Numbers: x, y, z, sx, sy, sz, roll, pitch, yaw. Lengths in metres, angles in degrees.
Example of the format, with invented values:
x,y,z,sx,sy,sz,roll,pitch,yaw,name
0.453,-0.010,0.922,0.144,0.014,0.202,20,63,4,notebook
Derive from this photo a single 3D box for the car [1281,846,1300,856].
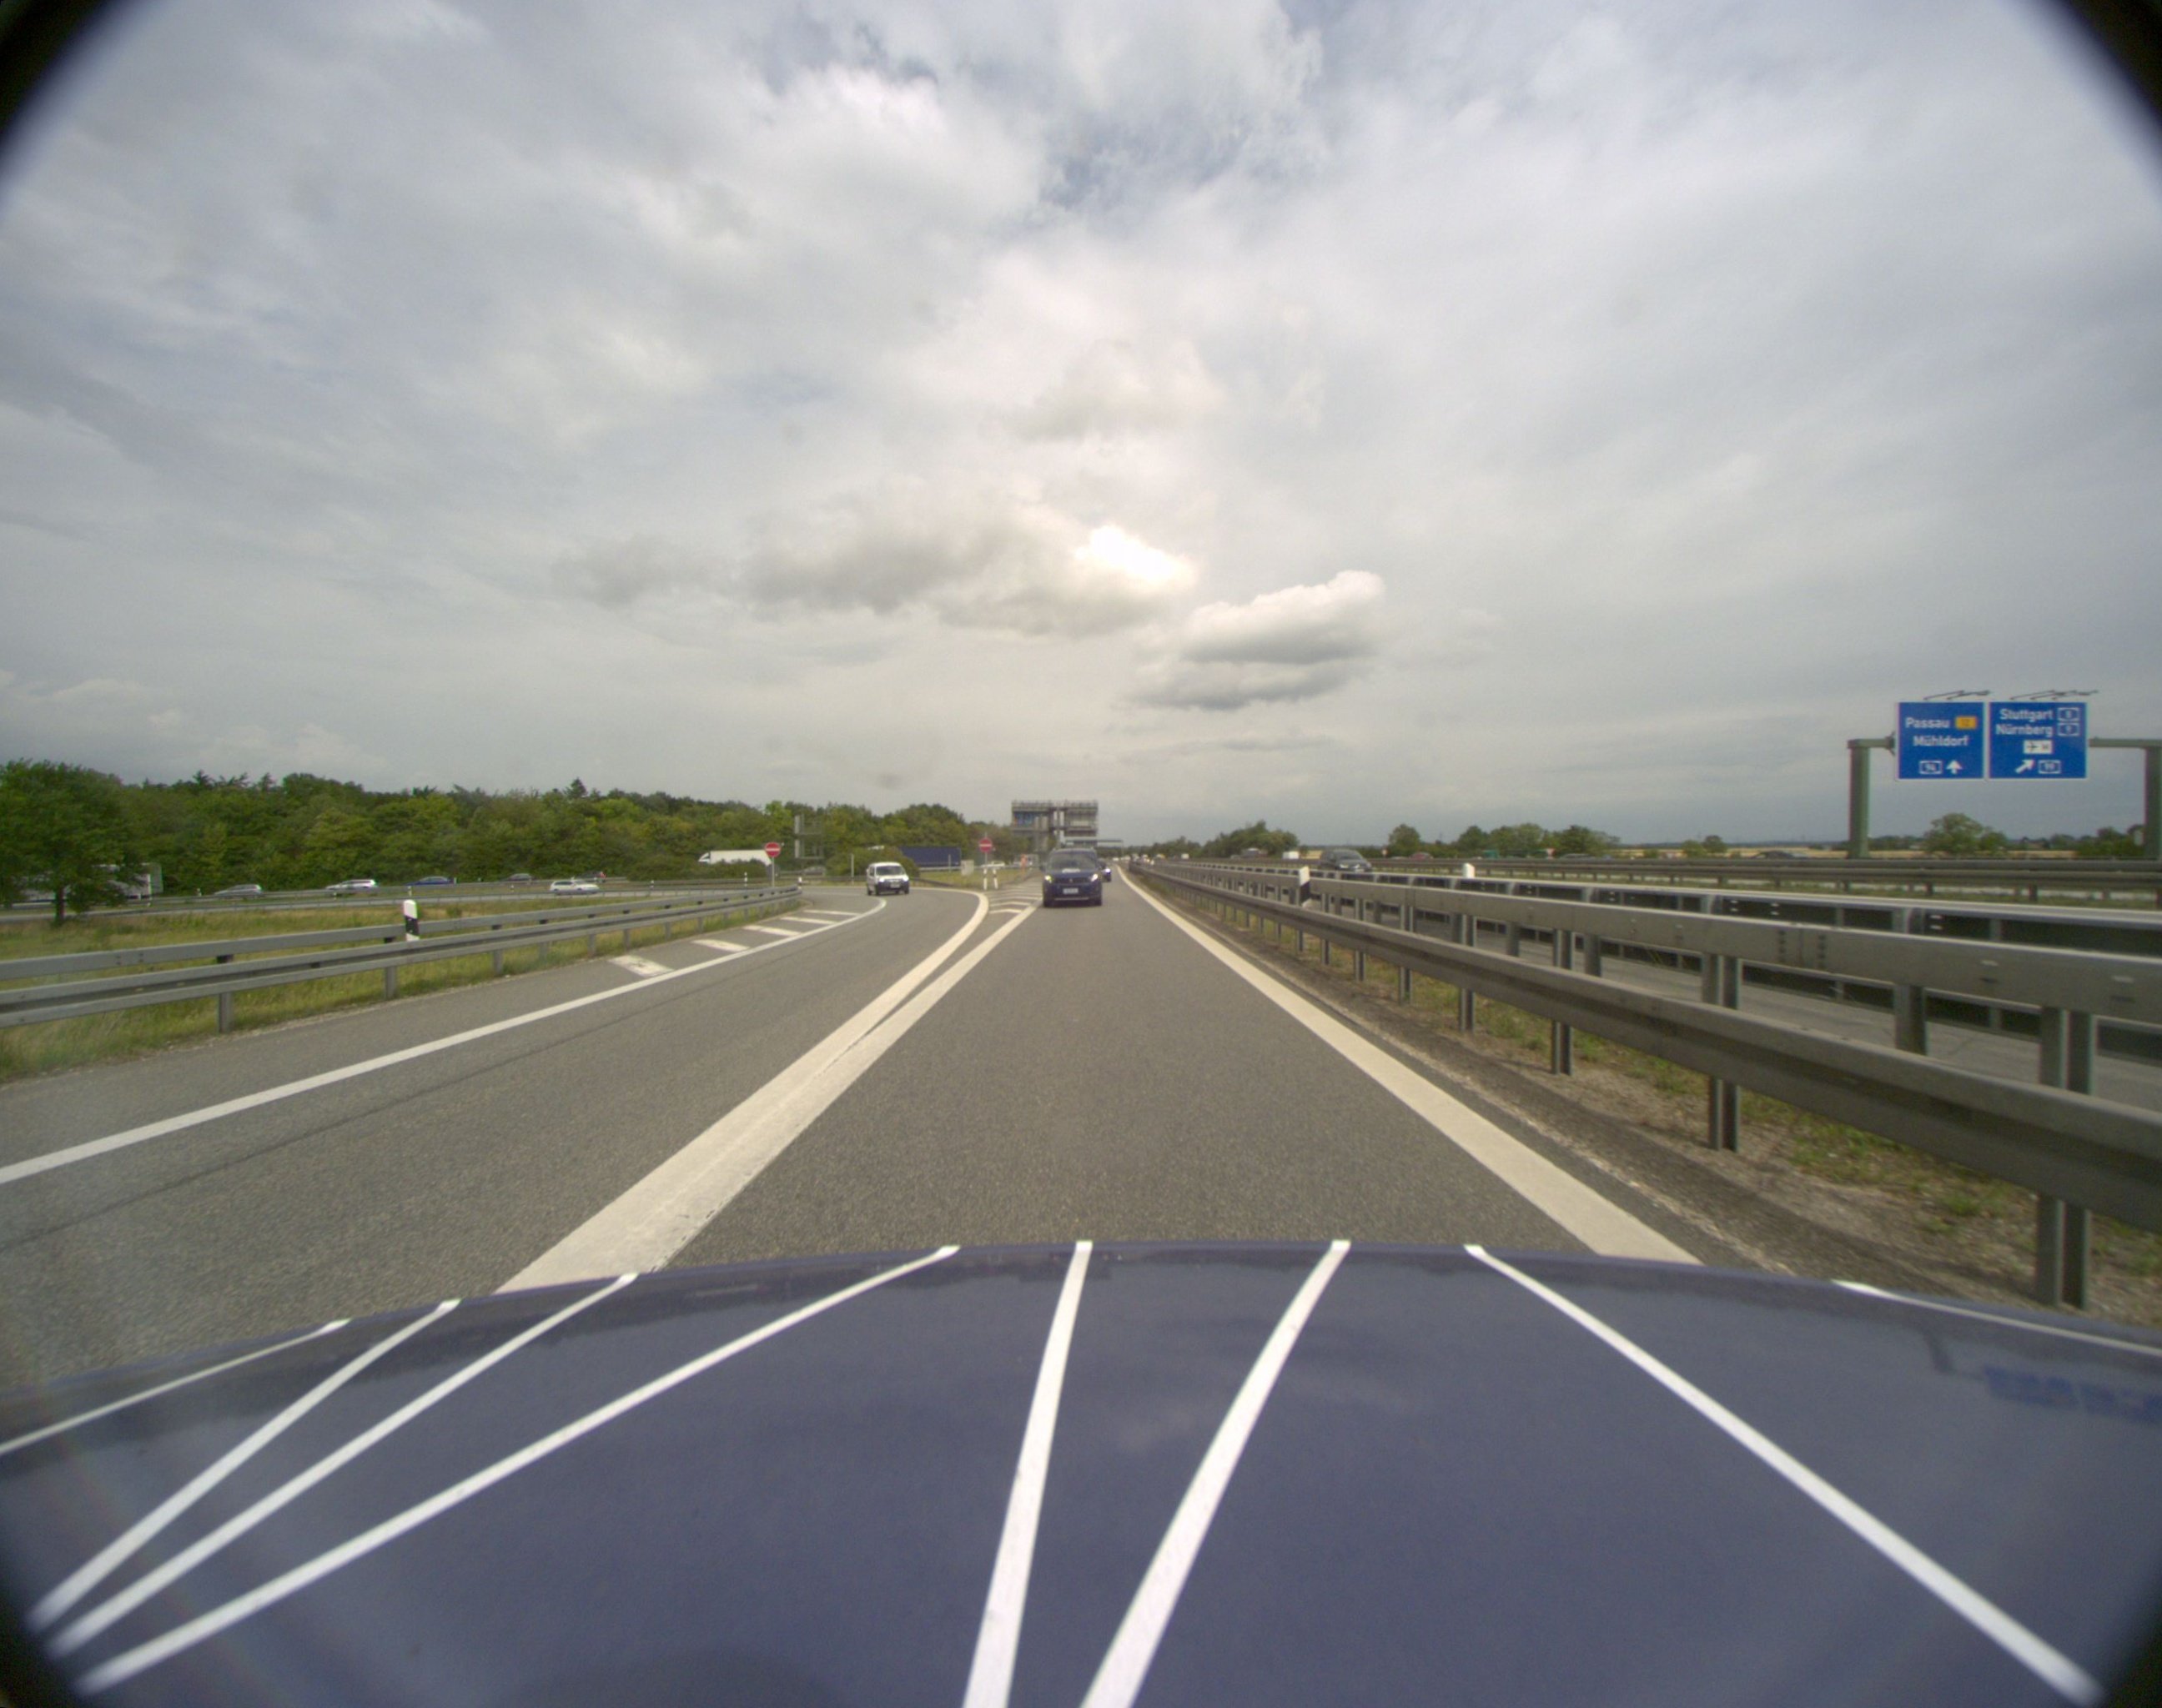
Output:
x,y,z,sx,sy,sz,roll,pitch,yaw,name
40.541,-0.605,147.118,2.107,1.849,4.749,-2,0,-1,car

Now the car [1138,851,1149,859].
x,y,z,sx,sy,sz,roll,pitch,yaw,name
13.386,0.203,164.083,1.824,1.537,4.353,-2,0,-2,car

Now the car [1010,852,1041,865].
x,y,z,sx,sy,sz,roll,pitch,yaw,name
-9.364,0.730,129.349,1.995,2.002,5.965,-2,0,33,car

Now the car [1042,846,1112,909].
x,y,z,sx,sy,sz,roll,pitch,yaw,name
-0.121,0.702,24.533,1.999,1.783,3.999,-2,0,0,car

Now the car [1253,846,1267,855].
x,y,z,sx,sy,sz,roll,pitch,yaw,name
39.708,-0.764,168.798,1.831,1.849,3.998,-2,0,-4,car

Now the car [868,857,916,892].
x,y,z,sx,sy,sz,roll,pitch,yaw,name
-10.428,1.100,41.679,1.865,1.735,3.992,-3,1,-23,car

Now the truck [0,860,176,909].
x,y,z,sx,sy,sz,roll,pitch,yaw,name
-99.222,2.944,74.522,13.037,4.217,2.689,-2,1,-33,truck

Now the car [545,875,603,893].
x,y,z,sx,sy,sz,roll,pitch,yaw,name
-48.743,2.866,73.105,4.477,1.532,1.727,-2,0,7,car

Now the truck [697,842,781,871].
x,y,z,sx,sy,sz,roll,pitch,yaw,name
-45.015,0.366,100.211,9.887,3.383,2.690,-2,1,-24,truck

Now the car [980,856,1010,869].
x,y,z,sx,sy,sz,roll,pitch,yaw,name
-13.806,1.380,122.474,4.506,1.774,1.994,-3,0,-45,car

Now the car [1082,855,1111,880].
x,y,z,sx,sy,sz,roll,pitch,yaw,name
0.944,0.826,48.110,1.747,1.381,3.999,-2,1,0,car

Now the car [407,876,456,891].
x,y,z,sx,sy,sz,roll,pitch,yaw,name
-74.823,3.391,87.548,4.005,1.485,1.555,-2,0,-29,car

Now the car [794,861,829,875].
x,y,z,sx,sy,sz,roll,pitch,yaw,name
-34.769,1.779,97.944,4.005,1.540,1.734,-2,0,-29,car

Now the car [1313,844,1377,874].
x,y,z,sx,sy,sz,roll,pitch,yaw,name
14.656,0.264,42.486,1.886,1.537,4.614,-2,0,-1,car

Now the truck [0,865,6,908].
x,y,z,sx,sy,sz,roll,pitch,yaw,name
-105.431,3.219,70.489,5.805,4.154,2.688,-3,0,-32,truck

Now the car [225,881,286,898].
x,y,z,sx,sy,sz,roll,pitch,yaw,name
-88.267,3.765,81.322,4.005,1.471,1.700,-3,1,-29,car

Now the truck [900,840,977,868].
x,y,z,sx,sy,sz,roll,pitch,yaw,name
-21.612,-0.040,116.176,11.815,3.836,2.839,-3,1,-44,truck

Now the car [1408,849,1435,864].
x,y,z,sx,sy,sz,roll,pitch,yaw,name
43.626,0.337,97.426,1.802,1.849,4.000,-2,0,1,car

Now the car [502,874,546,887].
x,y,z,sx,sy,sz,roll,pitch,yaw,name
-67.267,3.193,91.776,4.004,1.442,1.556,-2,0,-24,car

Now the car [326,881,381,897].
x,y,z,sx,sy,sz,roll,pitch,yaw,name
-81.245,3.856,84.920,4.005,1.548,1.795,-2,0,-28,car

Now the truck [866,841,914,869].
x,y,z,sx,sy,sz,roll,pitch,yaw,name
-27.652,0.078,110.321,5.939,3.780,2.894,-2,0,-44,truck
